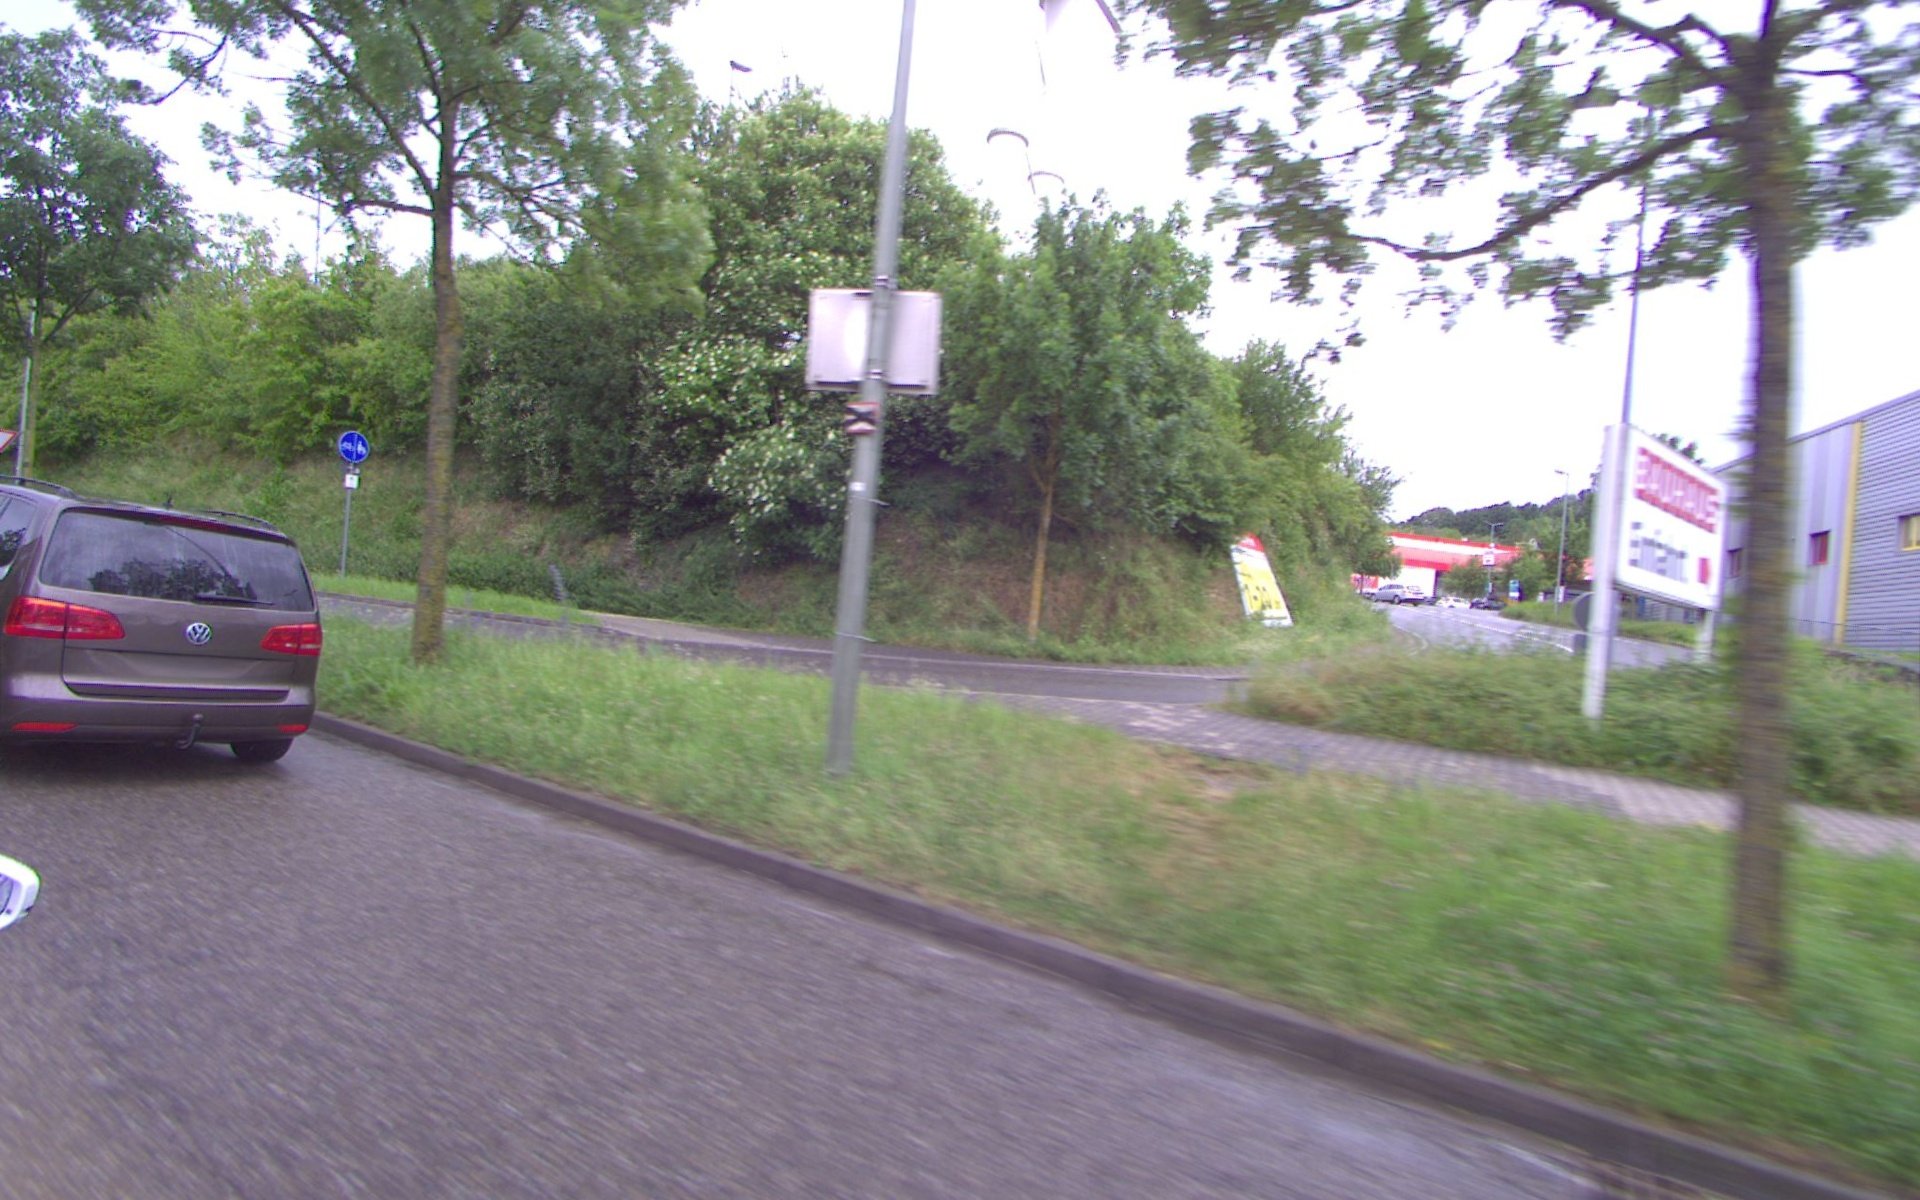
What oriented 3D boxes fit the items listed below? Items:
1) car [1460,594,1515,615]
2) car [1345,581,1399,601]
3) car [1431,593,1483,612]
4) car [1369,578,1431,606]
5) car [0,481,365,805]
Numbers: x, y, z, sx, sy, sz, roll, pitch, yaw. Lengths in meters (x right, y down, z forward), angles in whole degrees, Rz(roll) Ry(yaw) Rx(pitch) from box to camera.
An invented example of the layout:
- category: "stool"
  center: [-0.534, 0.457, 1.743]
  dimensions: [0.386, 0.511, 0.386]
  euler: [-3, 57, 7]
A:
- category: "car"
  center: [45.985, 0.403, 87.718]
  dimensions: [3.929, 1.540, 1.795]
  euler: [3, 3, -9]
- category: "car"
  center: [36.207, -0.798, 88.484]
  dimensions: [3.929, 1.540, 1.795]
  euler: [3, 3, -9]
- category: "car"
  center: [45.963, 0.232, 93.148]
  dimensions: [3.929, 1.540, 1.795]
  euler: [3, 3, -9]
- category: "car"
  center: [31.423, -0.597, 71.918]
  dimensions: [1.966, 1.639, 3.986]
  euler: [3, 3, -12]
- category: "car"
  center: [-6.084, 0.082, 6.726]
  dimensions: [4.147, 1.600, 1.689]
  euler: [7, -1, 30]
